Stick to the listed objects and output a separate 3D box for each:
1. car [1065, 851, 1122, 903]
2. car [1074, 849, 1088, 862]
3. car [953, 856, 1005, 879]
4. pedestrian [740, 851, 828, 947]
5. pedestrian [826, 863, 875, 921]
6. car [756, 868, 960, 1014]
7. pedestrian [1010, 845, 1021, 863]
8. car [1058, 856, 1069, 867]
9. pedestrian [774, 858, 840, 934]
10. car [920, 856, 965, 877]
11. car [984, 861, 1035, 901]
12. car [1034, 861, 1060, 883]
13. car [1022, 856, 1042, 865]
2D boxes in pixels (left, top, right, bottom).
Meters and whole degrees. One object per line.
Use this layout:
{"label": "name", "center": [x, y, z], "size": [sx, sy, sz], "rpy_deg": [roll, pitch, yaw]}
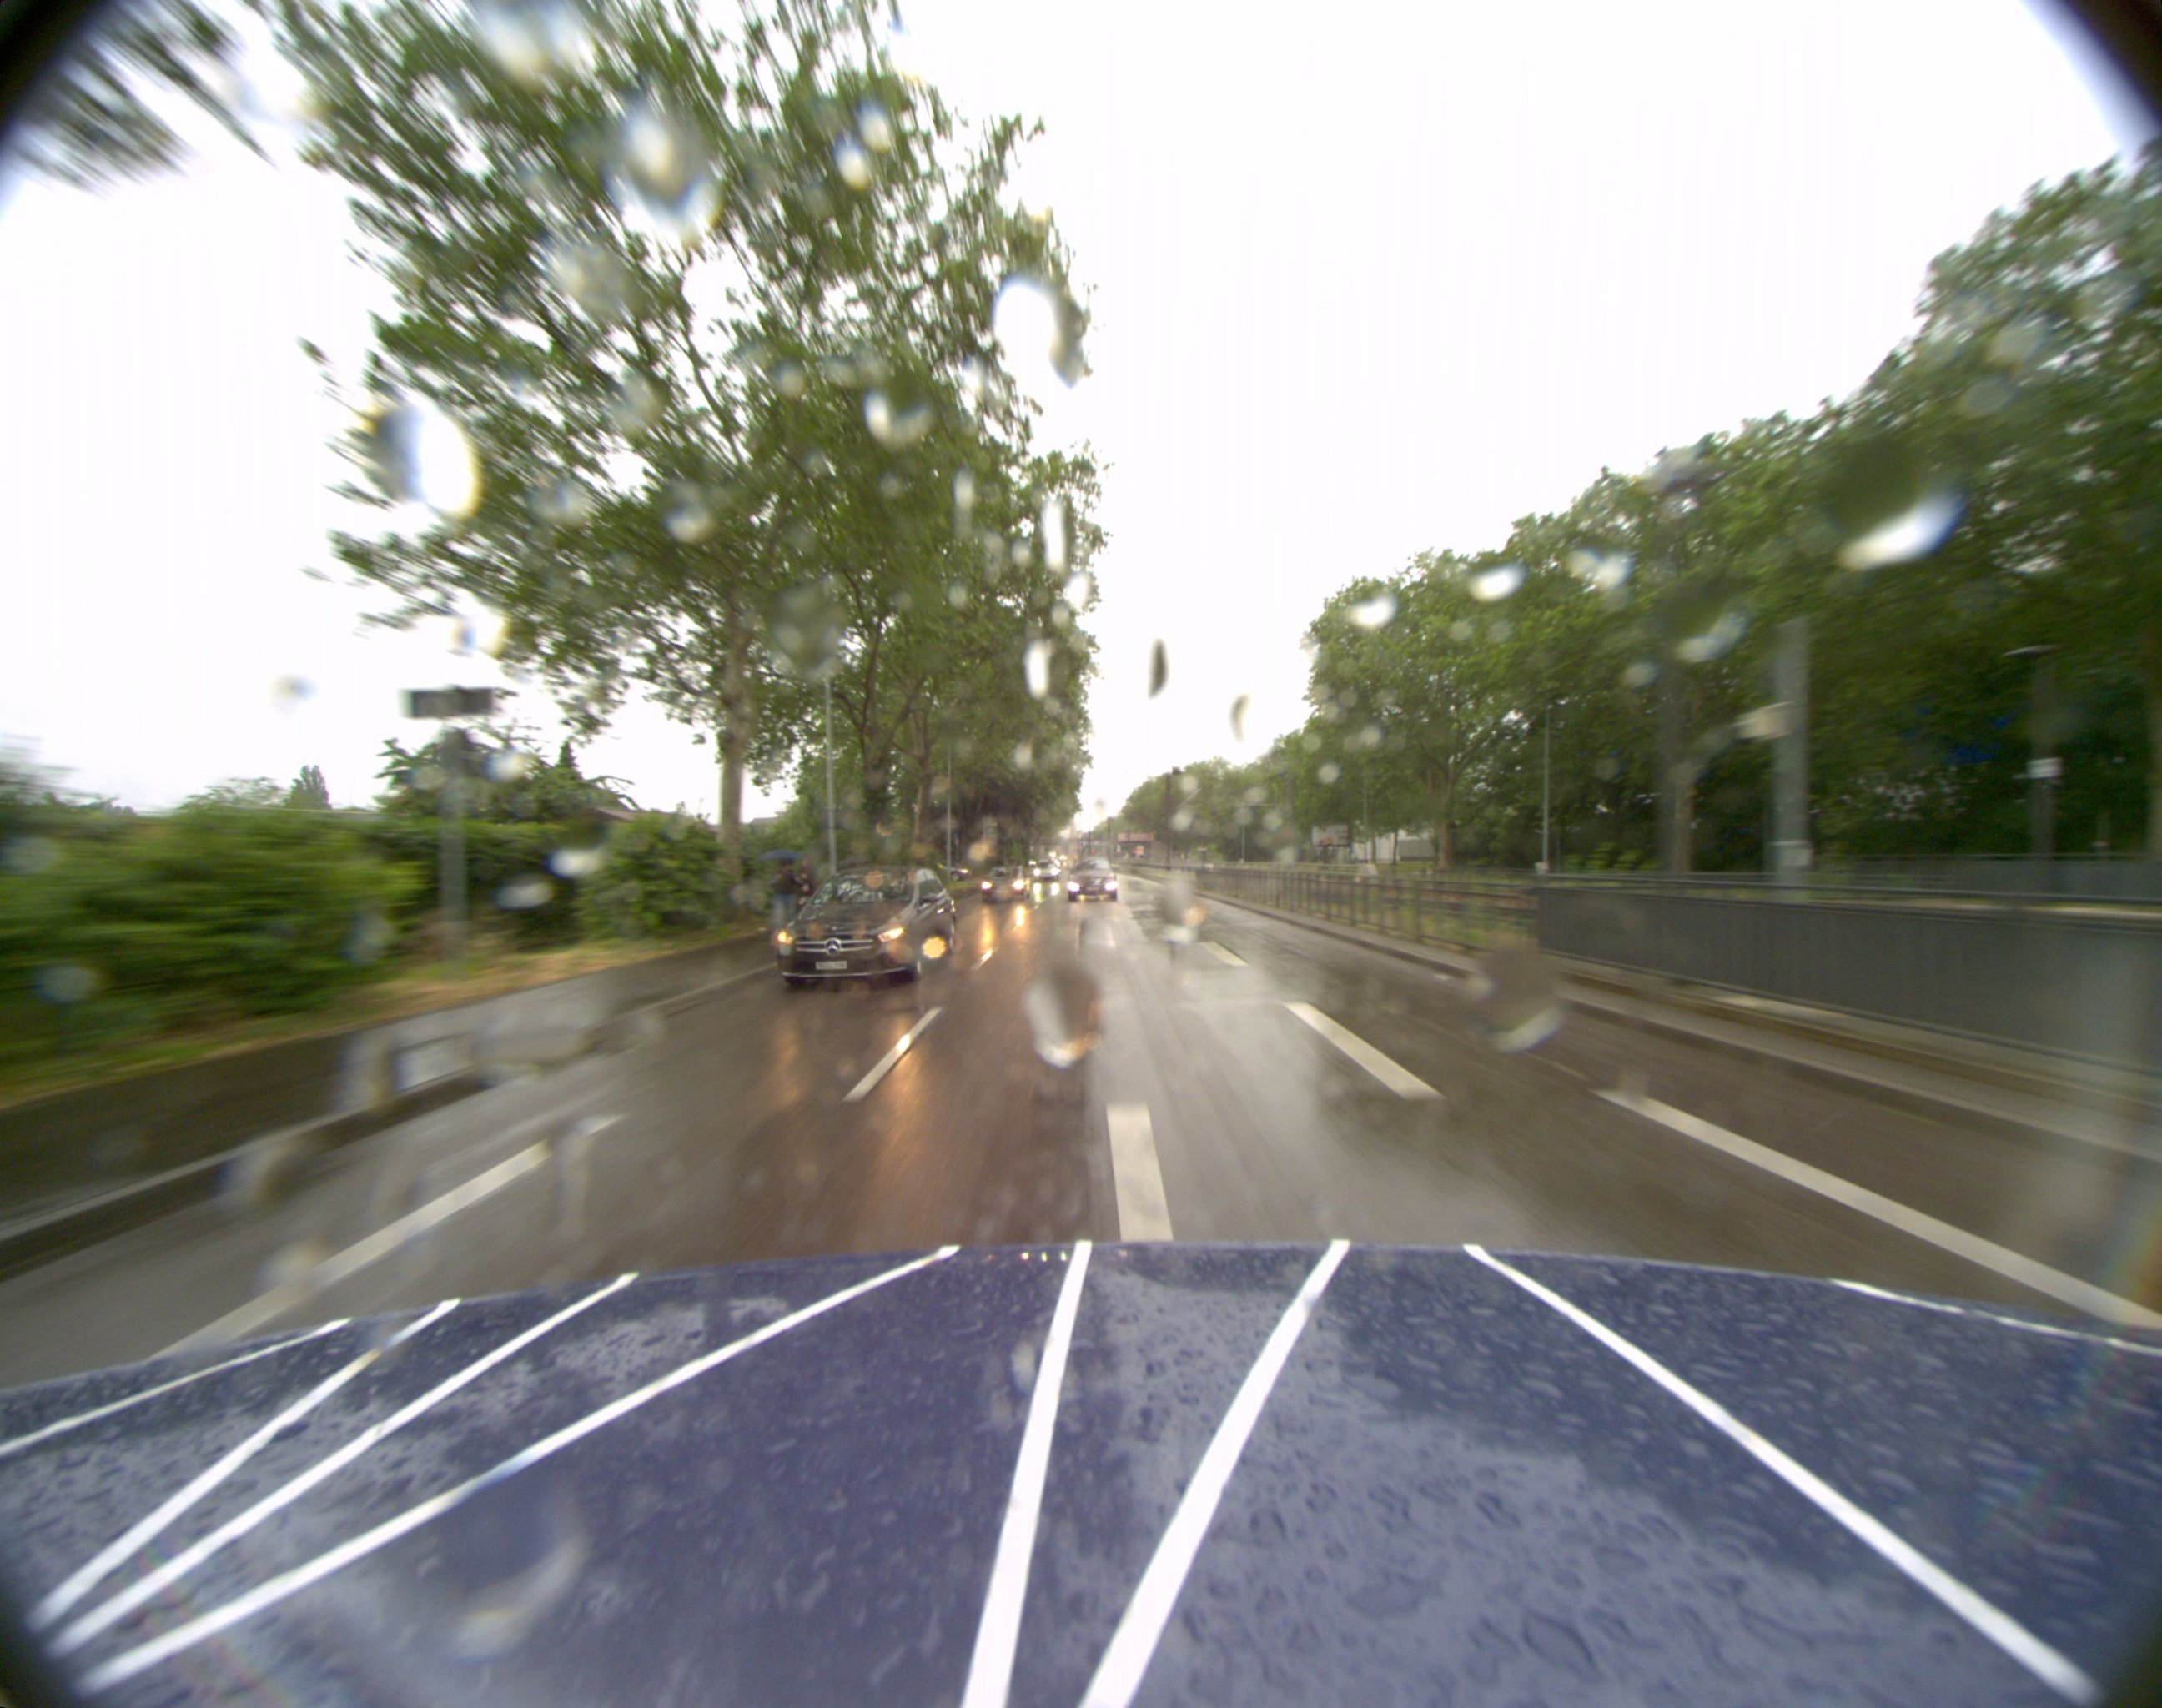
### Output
{"label": "car", "center": [0.456, 0.838, 29.143], "size": [1.975, 1.794, 4.159], "rpy_deg": [-2, 0, 1]}
{"label": "car", "center": [0.017, 0.235, 109.812], "size": [1.870, 1.688, 4.424], "rpy_deg": [-1, 0, -2]}
{"label": "car", "center": [-7.064, 0.939, 52.806], "size": [3.390, 1.488, 1.658], "rpy_deg": [-1, -1, -3]}
{"label": "pedestrian", "center": [-5.757, 0.837, 14.817], "size": [1.243, 1.775, 1.147], "rpy_deg": [1, 1, 1]}
{"label": "pedestrian", "center": [-5.772, 0.947, 19.076], "size": [0.894, 1.382, 1.016], "rpy_deg": [1, 1, 1]}
{"label": "car", "center": [-2.957, 1.058, 11.109], "size": [1.821, 1.521, 4.420], "rpy_deg": [-3, 0, -3]}
{"label": "pedestrian", "center": [-6.497, 0.010, 75.324], "size": [0.969, 1.692, 1.141], "rpy_deg": [-3, 0, -1]}
{"label": "car", "center": [-3.576, 1.520, 156.826], "size": [1.998, 2.002, 4.000], "rpy_deg": [-2, 1, 2]}
{"label": "pedestrian", "center": [-5.950, 0.883, 16.585], "size": [0.949, 1.580, 1.294], "rpy_deg": [0, 1, 1]}
{"label": "car", "center": [-10.899, 0.988, 59.758], "size": [3.392, 1.599, 1.657], "rpy_deg": [-1, -1, -10]}
{"label": "car", "center": [-2.859, 1.060, 31.038], "size": [1.641, 1.377, 3.781], "rpy_deg": [-2, 1, 0]}
{"label": "car", "center": [-2.457, 1.281, 55.392], "size": [1.821, 1.520, 4.158], "rpy_deg": [-1, 0, -2]}
{"label": "car", "center": [-8.583, 1.161, 132.970], "size": [1.611, 1.423, 3.546], "rpy_deg": [-3, 1, -43]}
